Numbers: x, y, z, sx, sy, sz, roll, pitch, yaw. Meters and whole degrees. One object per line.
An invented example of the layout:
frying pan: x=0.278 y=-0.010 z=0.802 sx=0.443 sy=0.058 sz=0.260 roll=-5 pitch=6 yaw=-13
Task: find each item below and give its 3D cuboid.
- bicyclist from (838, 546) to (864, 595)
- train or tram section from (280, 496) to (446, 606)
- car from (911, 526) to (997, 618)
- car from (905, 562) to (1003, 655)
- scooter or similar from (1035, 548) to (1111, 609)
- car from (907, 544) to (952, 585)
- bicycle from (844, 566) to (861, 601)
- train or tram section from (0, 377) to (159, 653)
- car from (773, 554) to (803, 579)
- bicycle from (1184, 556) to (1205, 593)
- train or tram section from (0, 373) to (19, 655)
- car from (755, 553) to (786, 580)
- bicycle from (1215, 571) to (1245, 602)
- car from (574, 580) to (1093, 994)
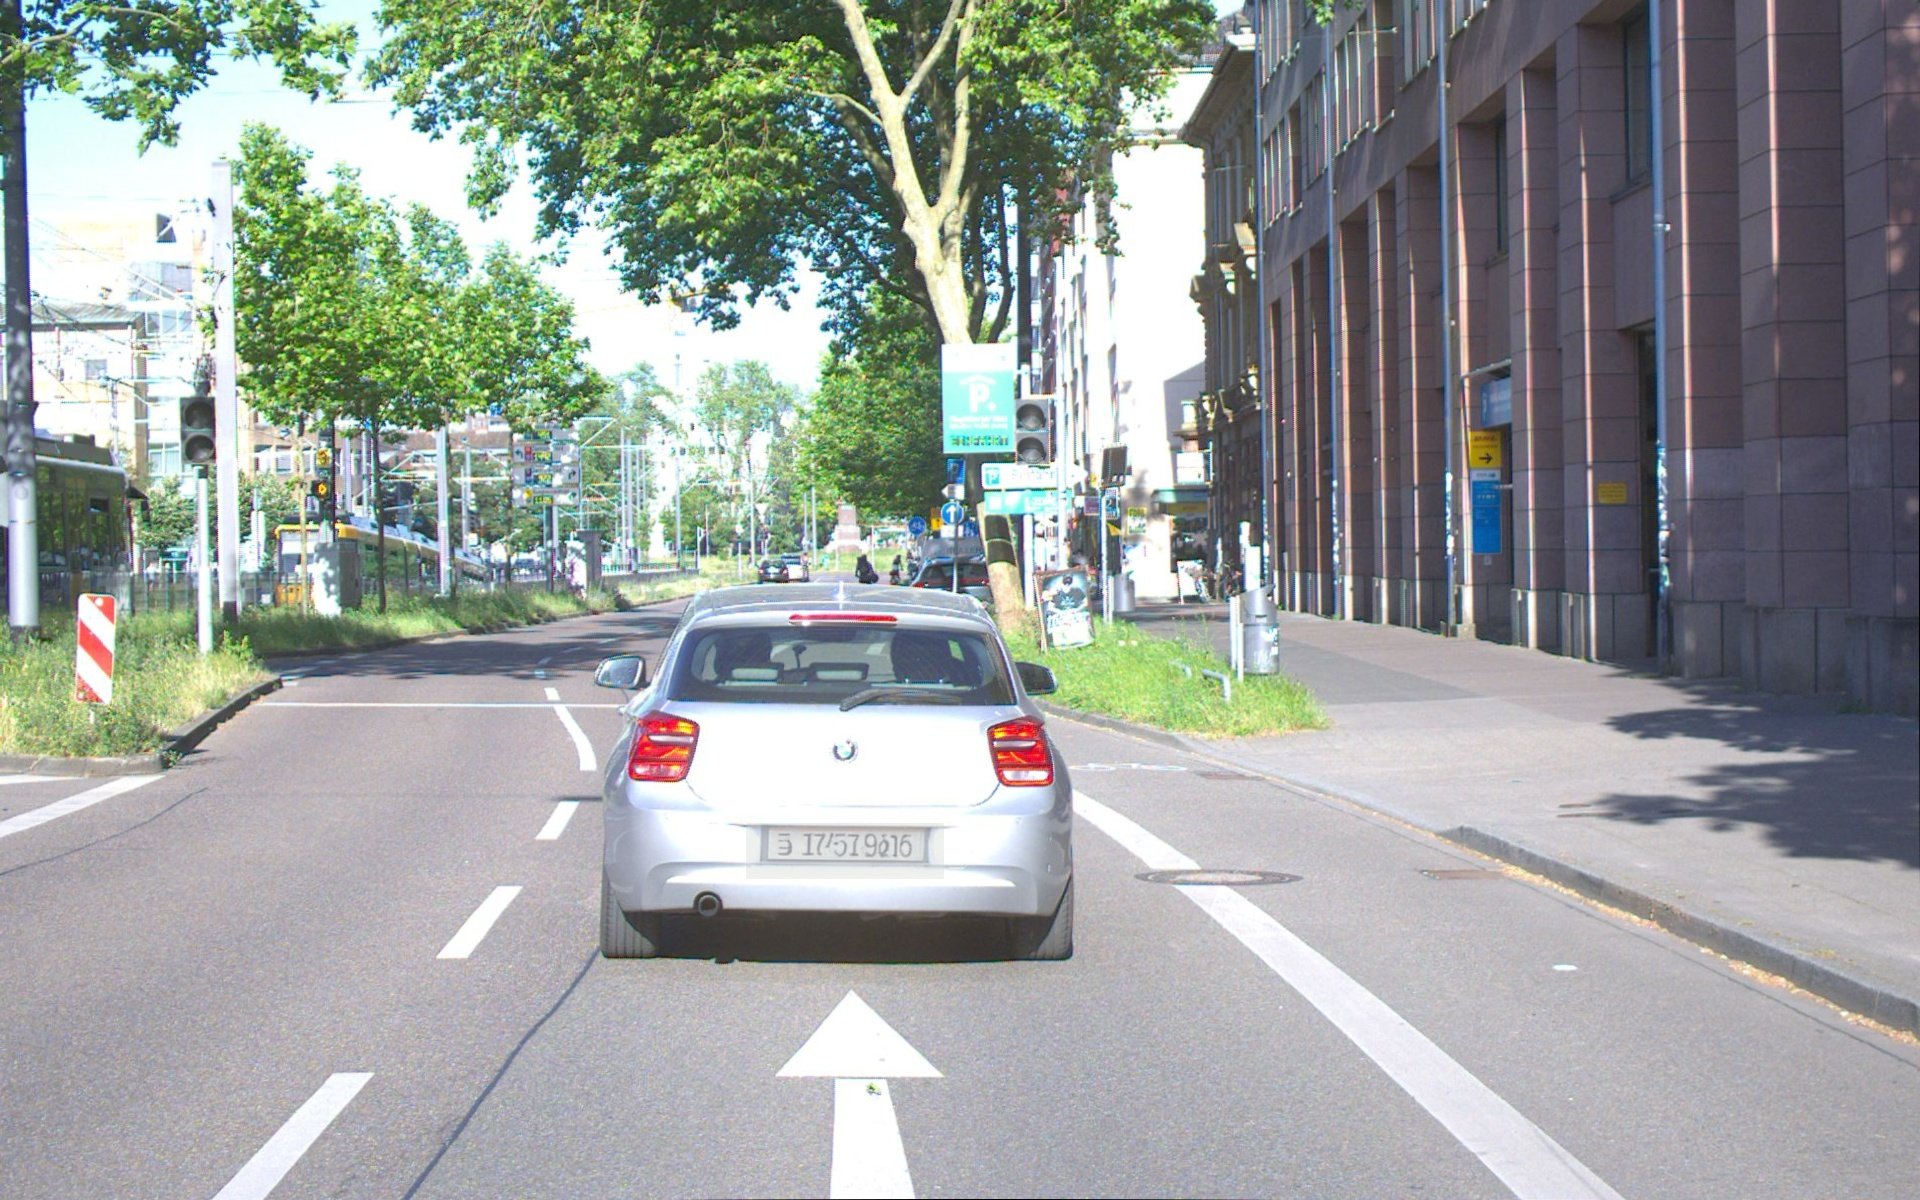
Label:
bicyclist: x=-3.454 y=-0.947 z=109.344 sx=0.785 sy=1.526 sz=0.895 roll=1 pitch=0 yaw=-1
train or tram section: x=-20.538 y=-1.723 z=119.707 sx=2.963 sy=3.472 sz=21.220 roll=-1 pitch=1 yaw=-2
car: x=-0.168 y=-0.649 z=78.398 sx=1.856 sy=2.007 sz=4.724 roll=1 pitch=1 yaw=-1
car: x=-0.079 y=0.128 z=61.660 sx=1.668 sy=1.565 sz=4.280 roll=1 pitch=1 yaw=0
scooter or similar: x=2.317 y=-0.442 z=70.558 sx=1.540 sy=1.233 sz=0.449 roll=-1 pitch=1 yaw=0
car: x=-1.218 y=-1.431 z=137.252 sx=1.694 sy=1.497 sz=3.801 roll=-3 pitch=1 yaw=-1
bicycle: x=-3.405 y=-0.539 z=109.176 sx=0.499 sy=1.085 sz=1.997 roll=1 pitch=1 yaw=-1
train or tram section: x=-14.995 y=-1.278 z=53.644 sx=2.952 sy=3.883 sz=10.804 roll=1 pitch=1 yaw=-3
car: x=-10.036 y=-1.977 z=200.823 sx=1.644 sy=1.416 sz=4.000 roll=1 pitch=1 yaw=-1
bicycle: x=6.439 y=-0.707 z=94.463 sx=0.414 sy=0.994 sz=1.882 roll=0 pitch=1 yaw=-1
train or tram section: x=-14.634 y=-1.199 z=46.302 sx=2.954 sy=3.883 sz=3.866 roll=1 pitch=0 yaw=-3
car: x=-10.643 y=-1.879 z=192.749 sx=1.726 sy=1.465 sz=4.411 roll=0 pitch=1 yaw=-3
bicycle: x=6.829 y=-0.349 z=87.030 sx=0.548 sy=0.771 sz=1.663 roll=-2 pitch=1 yaw=-1
car: x=-0.482 y=0.648 z=14.107 sx=1.798 sy=1.410 sz=4.000 roll=1 pitch=1 yaw=-1
